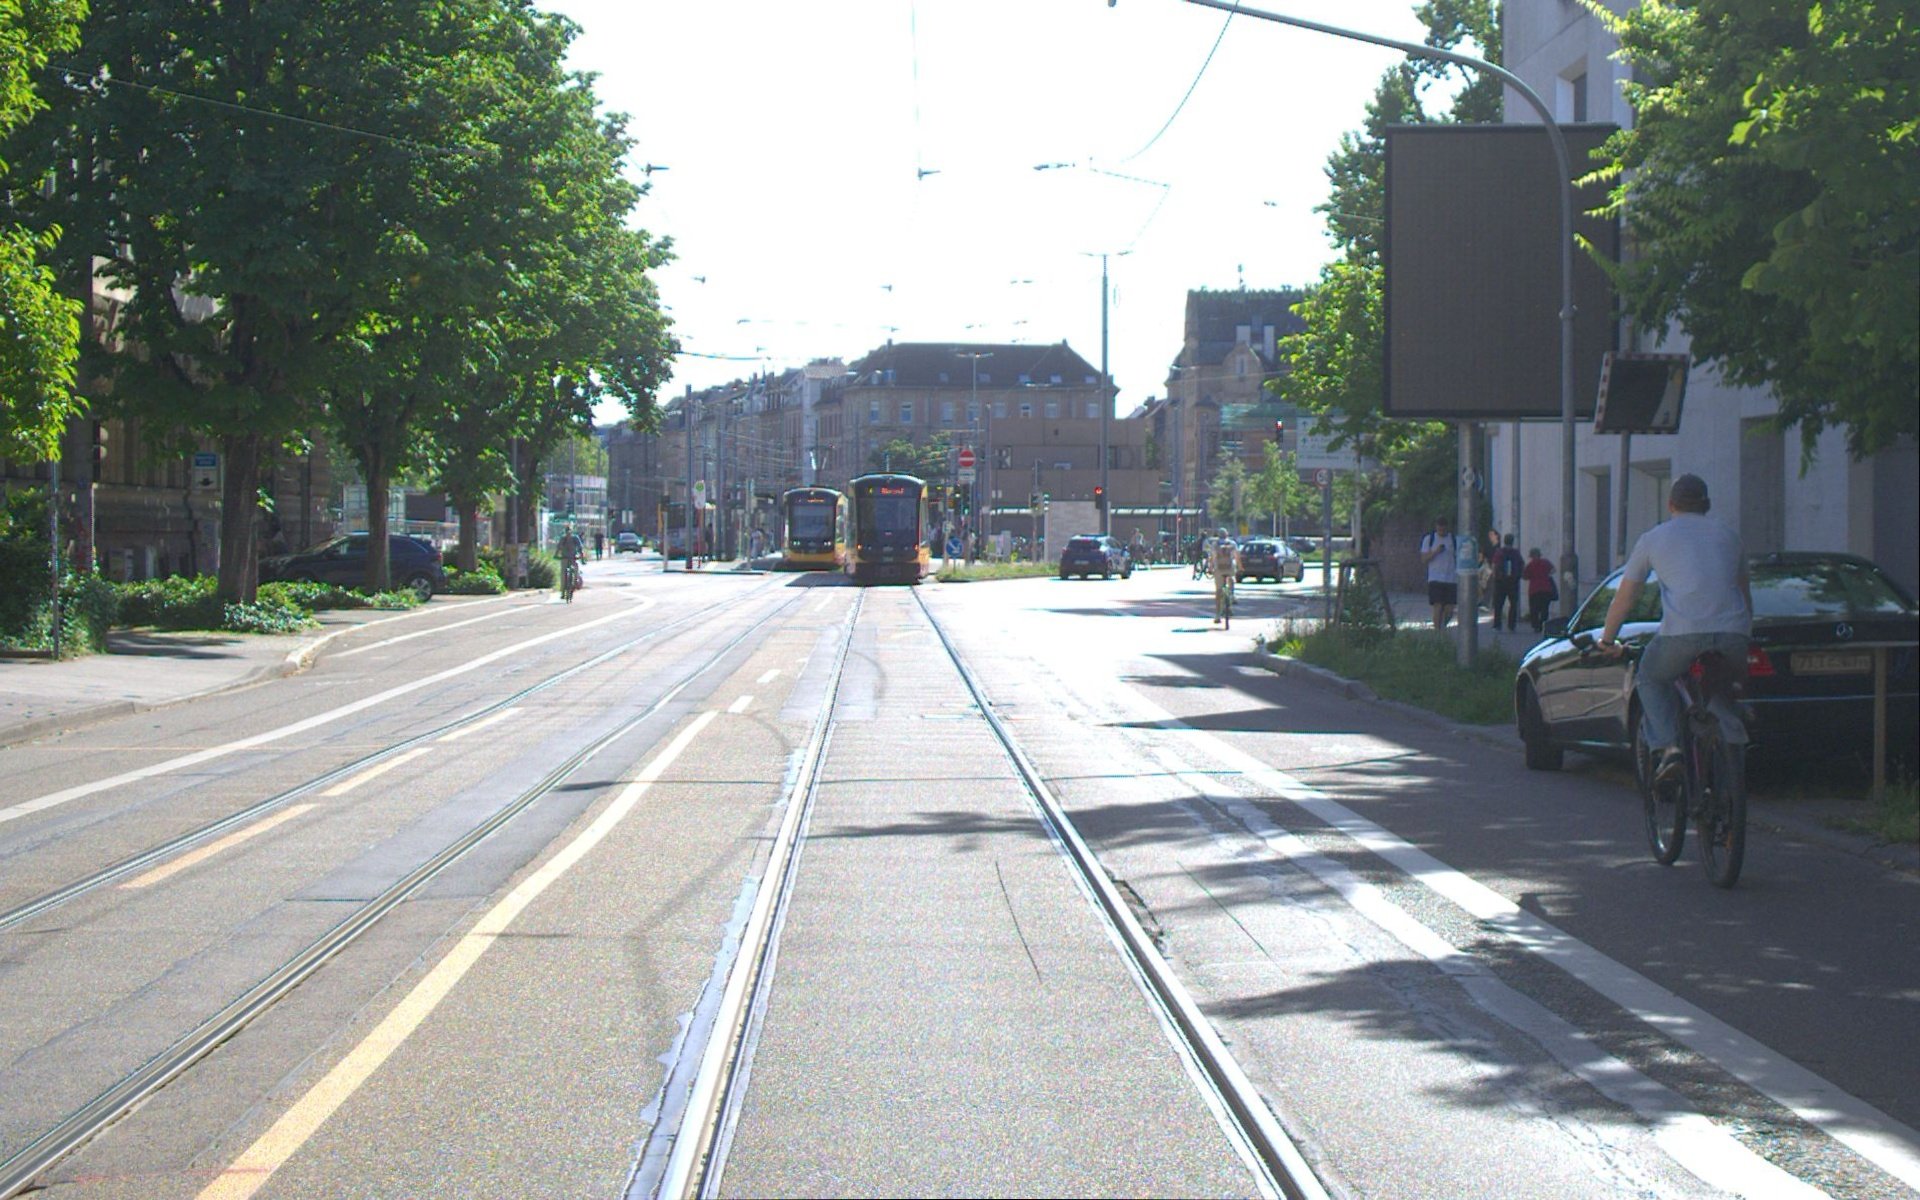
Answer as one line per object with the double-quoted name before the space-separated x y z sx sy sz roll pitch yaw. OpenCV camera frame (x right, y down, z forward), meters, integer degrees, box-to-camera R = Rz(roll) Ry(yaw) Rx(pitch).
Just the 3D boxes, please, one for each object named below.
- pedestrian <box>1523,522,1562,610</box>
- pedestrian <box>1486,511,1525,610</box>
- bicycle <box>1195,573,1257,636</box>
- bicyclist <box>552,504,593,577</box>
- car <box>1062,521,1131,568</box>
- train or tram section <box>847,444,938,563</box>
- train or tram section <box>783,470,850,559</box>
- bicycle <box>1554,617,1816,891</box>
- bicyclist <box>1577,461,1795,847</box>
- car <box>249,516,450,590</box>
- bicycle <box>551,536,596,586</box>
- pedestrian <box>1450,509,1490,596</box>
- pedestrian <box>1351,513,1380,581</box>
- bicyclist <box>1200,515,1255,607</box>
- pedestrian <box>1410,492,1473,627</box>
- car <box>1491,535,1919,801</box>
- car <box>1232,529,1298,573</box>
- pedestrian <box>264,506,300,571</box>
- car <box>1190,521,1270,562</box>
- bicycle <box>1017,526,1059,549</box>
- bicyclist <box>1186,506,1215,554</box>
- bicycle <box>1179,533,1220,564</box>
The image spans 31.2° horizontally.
"pedestrian" 9.372 -0.551 55.330 0.518 1.399 0.764 0 1 2
"pedestrian" 8.802 -0.644 55.495 0.518 1.595 0.764 0 1 2
"bicycle" 4.936 0.083 63.716 0.705 1.101 1.715 3 2 18
"bicyclist" -8.838 -1.364 78.476 0.687 1.639 1.237 -1 1 3
"car" 4.880 -1.982 122.431 1.790 1.599 3.711 2 2 12
"train or tram section" -2.308 -3.182 113.214 2.742 3.639 13.787 1 2 -2
"train or tram section" -6.164 -3.728 148.933 2.742 3.639 13.787 1 2 -2
"bicycle" 3.272 0.662 15.710 0.738 1.090 2.111 2 1 1
"bicyclist" 3.285 0.227 15.638 0.738 1.680 0.972 2 1 1
"car" -13.622 -1.049 76.713 3.986 1.544 1.878 1 1 -28
"bicycle" -8.826 -0.902 78.504 0.687 1.120 1.931 -1 1 3
"pedestrian" 10.709 -1.004 72.153 0.648 1.757 0.955 -4 1 14
"pedestrian" 11.498 -1.512 97.503 0.637 1.897 1.134 -2 1 0
"bicyclist" 4.964 -0.725 63.692 0.705 1.669 1.100 3 2 19
"pedestrian" 6.710 -0.571 47.971 0.683 1.843 0.955 -1 1 -2
"car" 4.871 0.340 21.982 1.821 1.453 4.819 -1 1 -5
"car" 10.996 -1.787 123.645 1.790 1.506 3.710 2 2 14
"pedestrian" -17.322 -1.575 87.809 0.700 1.629 0.759 3 1 -1
"car" 11.409 -2.445 144.910 1.705 1.638 3.705 3 2 34
"bicycle" 3.740 -2.987 164.828 1.933 1.099 0.599 0 2 -3
"bicyclist" 8.759 -2.552 125.272 0.706 1.694 0.986 3 2 24
"bicycle" 8.737 -1.879 125.315 0.706 1.051 2.311 3 3 23
